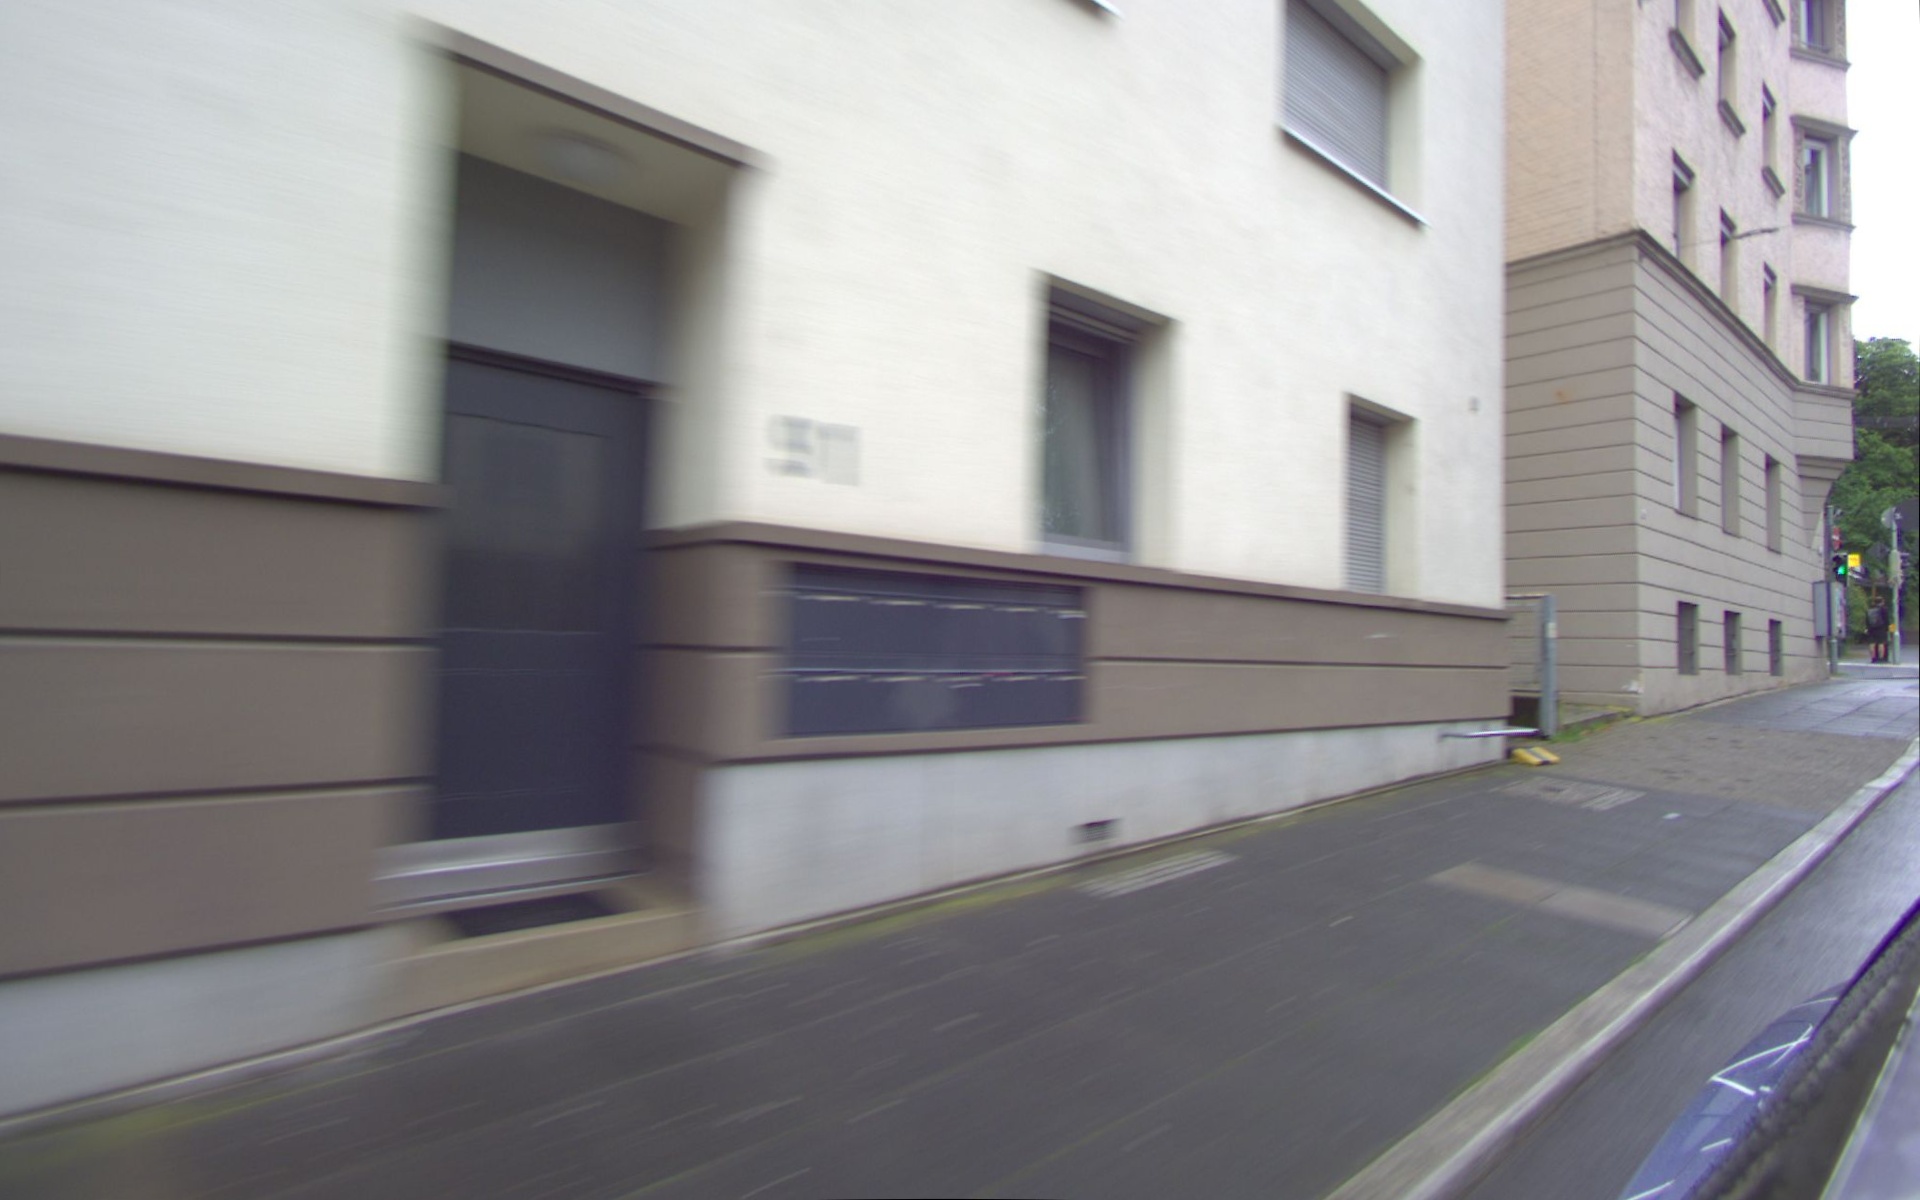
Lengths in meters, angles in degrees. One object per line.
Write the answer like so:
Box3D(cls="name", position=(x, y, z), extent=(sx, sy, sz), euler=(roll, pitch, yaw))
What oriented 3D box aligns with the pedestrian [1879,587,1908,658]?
Box3D(cls="pedestrian", position=(25.920, 0.606, 28.100), extent=(0.594, 1.940, 0.546), euler=(1, -1, -43))
